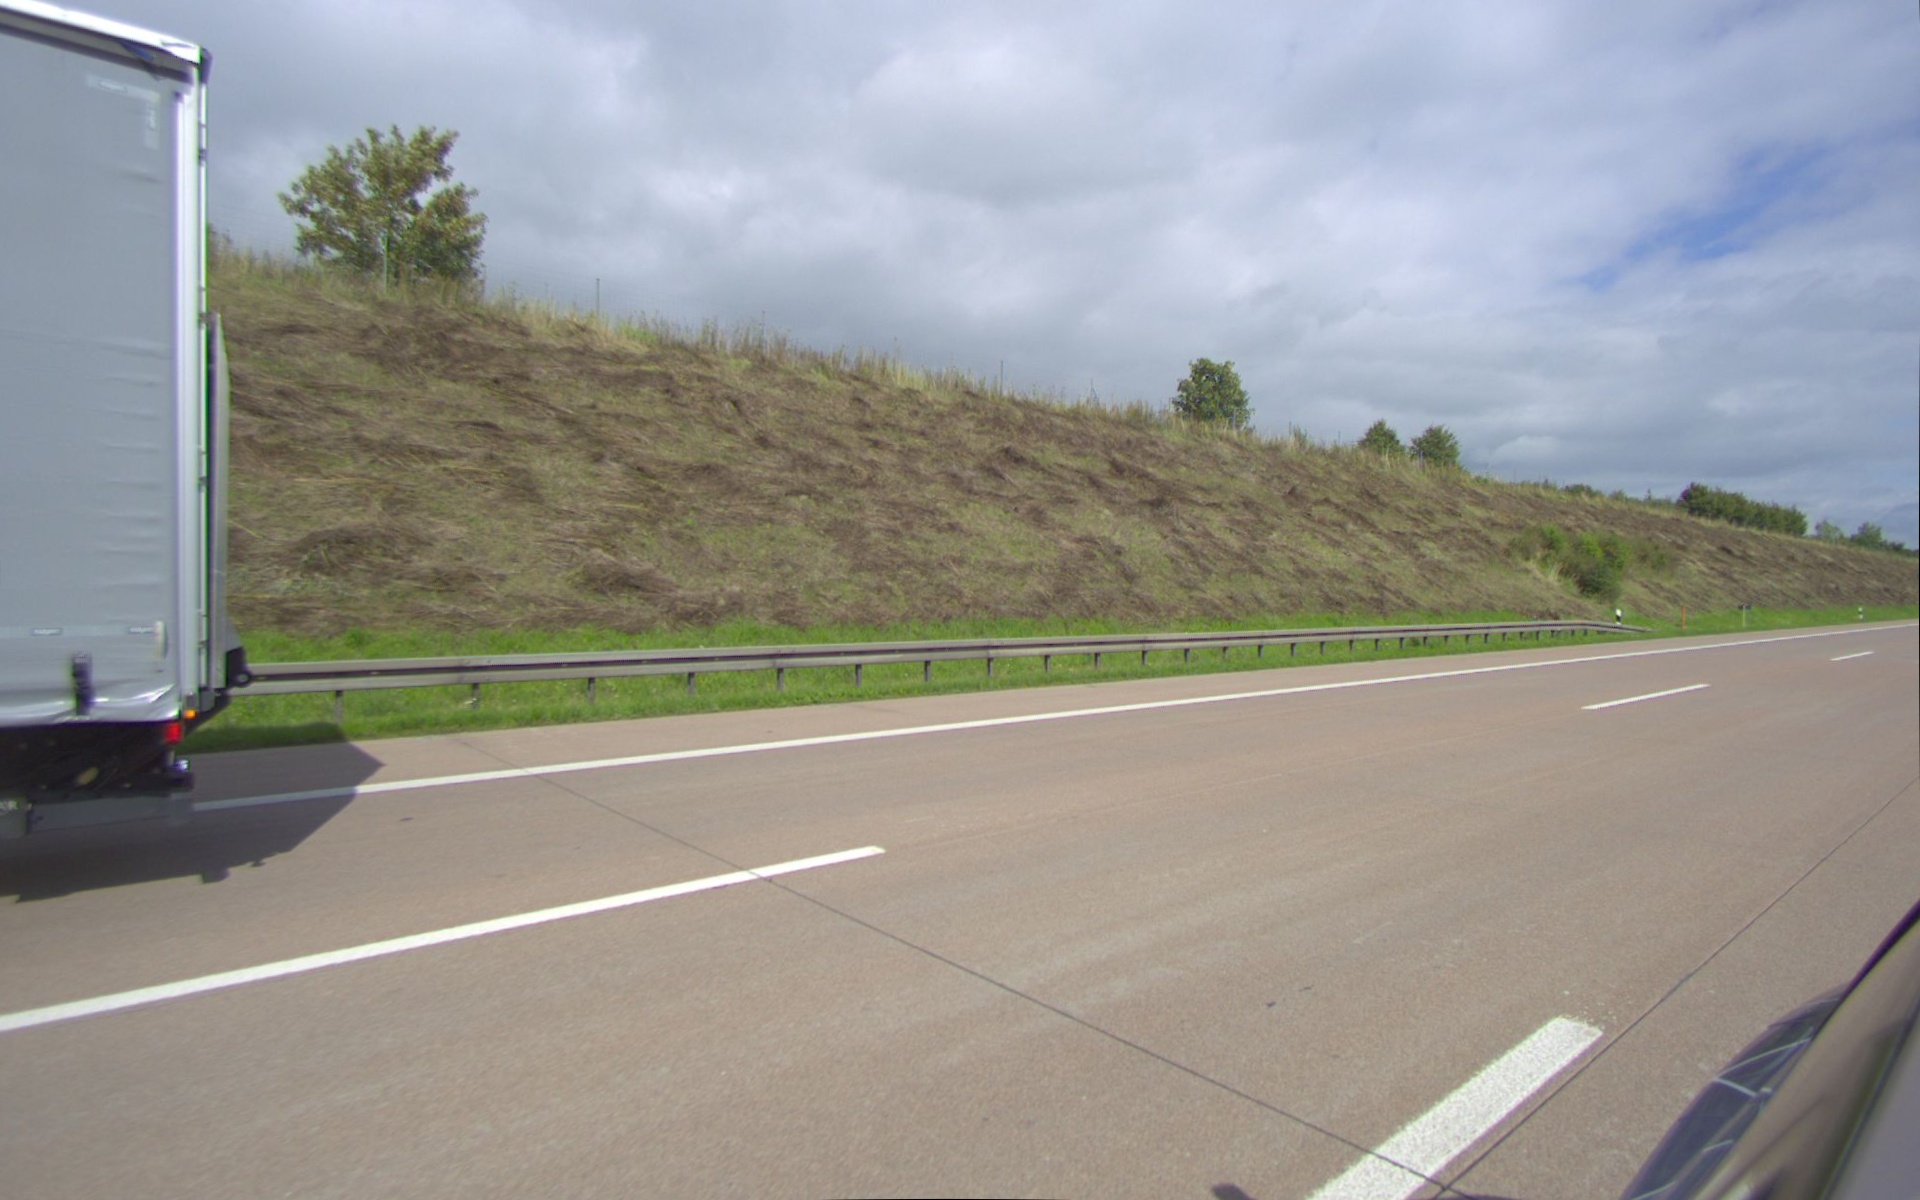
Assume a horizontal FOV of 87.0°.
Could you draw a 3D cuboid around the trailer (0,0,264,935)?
[{"bbox_3d":[-7.312,-0.645,2.891,8.523,4.062,2.751,-1,0,-42],"label":"trailer"}]
